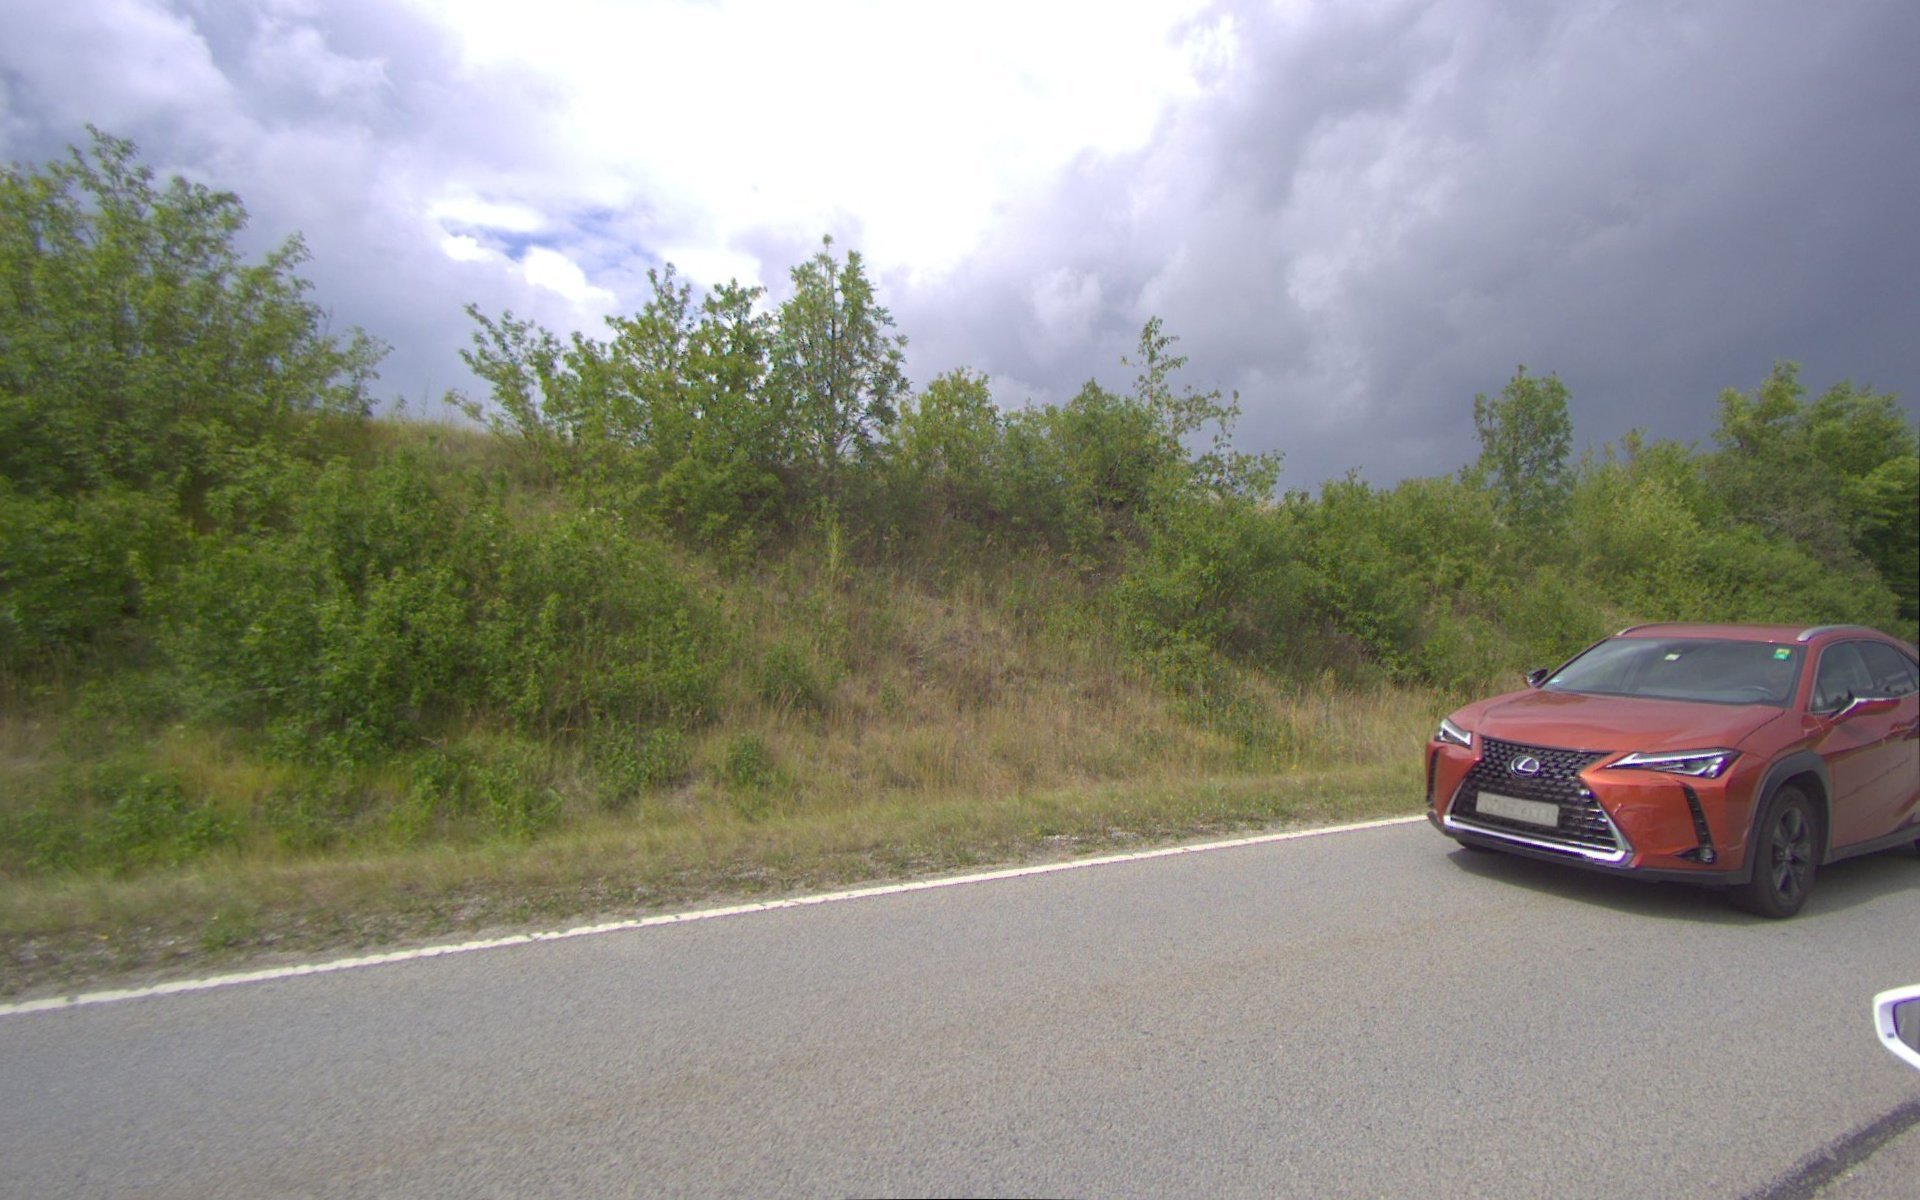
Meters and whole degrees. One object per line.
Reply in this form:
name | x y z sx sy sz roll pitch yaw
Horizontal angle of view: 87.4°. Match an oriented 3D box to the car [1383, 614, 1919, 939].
car | 4.966 0.883 6.569 4.360 1.484 1.820 2 -1 -30
